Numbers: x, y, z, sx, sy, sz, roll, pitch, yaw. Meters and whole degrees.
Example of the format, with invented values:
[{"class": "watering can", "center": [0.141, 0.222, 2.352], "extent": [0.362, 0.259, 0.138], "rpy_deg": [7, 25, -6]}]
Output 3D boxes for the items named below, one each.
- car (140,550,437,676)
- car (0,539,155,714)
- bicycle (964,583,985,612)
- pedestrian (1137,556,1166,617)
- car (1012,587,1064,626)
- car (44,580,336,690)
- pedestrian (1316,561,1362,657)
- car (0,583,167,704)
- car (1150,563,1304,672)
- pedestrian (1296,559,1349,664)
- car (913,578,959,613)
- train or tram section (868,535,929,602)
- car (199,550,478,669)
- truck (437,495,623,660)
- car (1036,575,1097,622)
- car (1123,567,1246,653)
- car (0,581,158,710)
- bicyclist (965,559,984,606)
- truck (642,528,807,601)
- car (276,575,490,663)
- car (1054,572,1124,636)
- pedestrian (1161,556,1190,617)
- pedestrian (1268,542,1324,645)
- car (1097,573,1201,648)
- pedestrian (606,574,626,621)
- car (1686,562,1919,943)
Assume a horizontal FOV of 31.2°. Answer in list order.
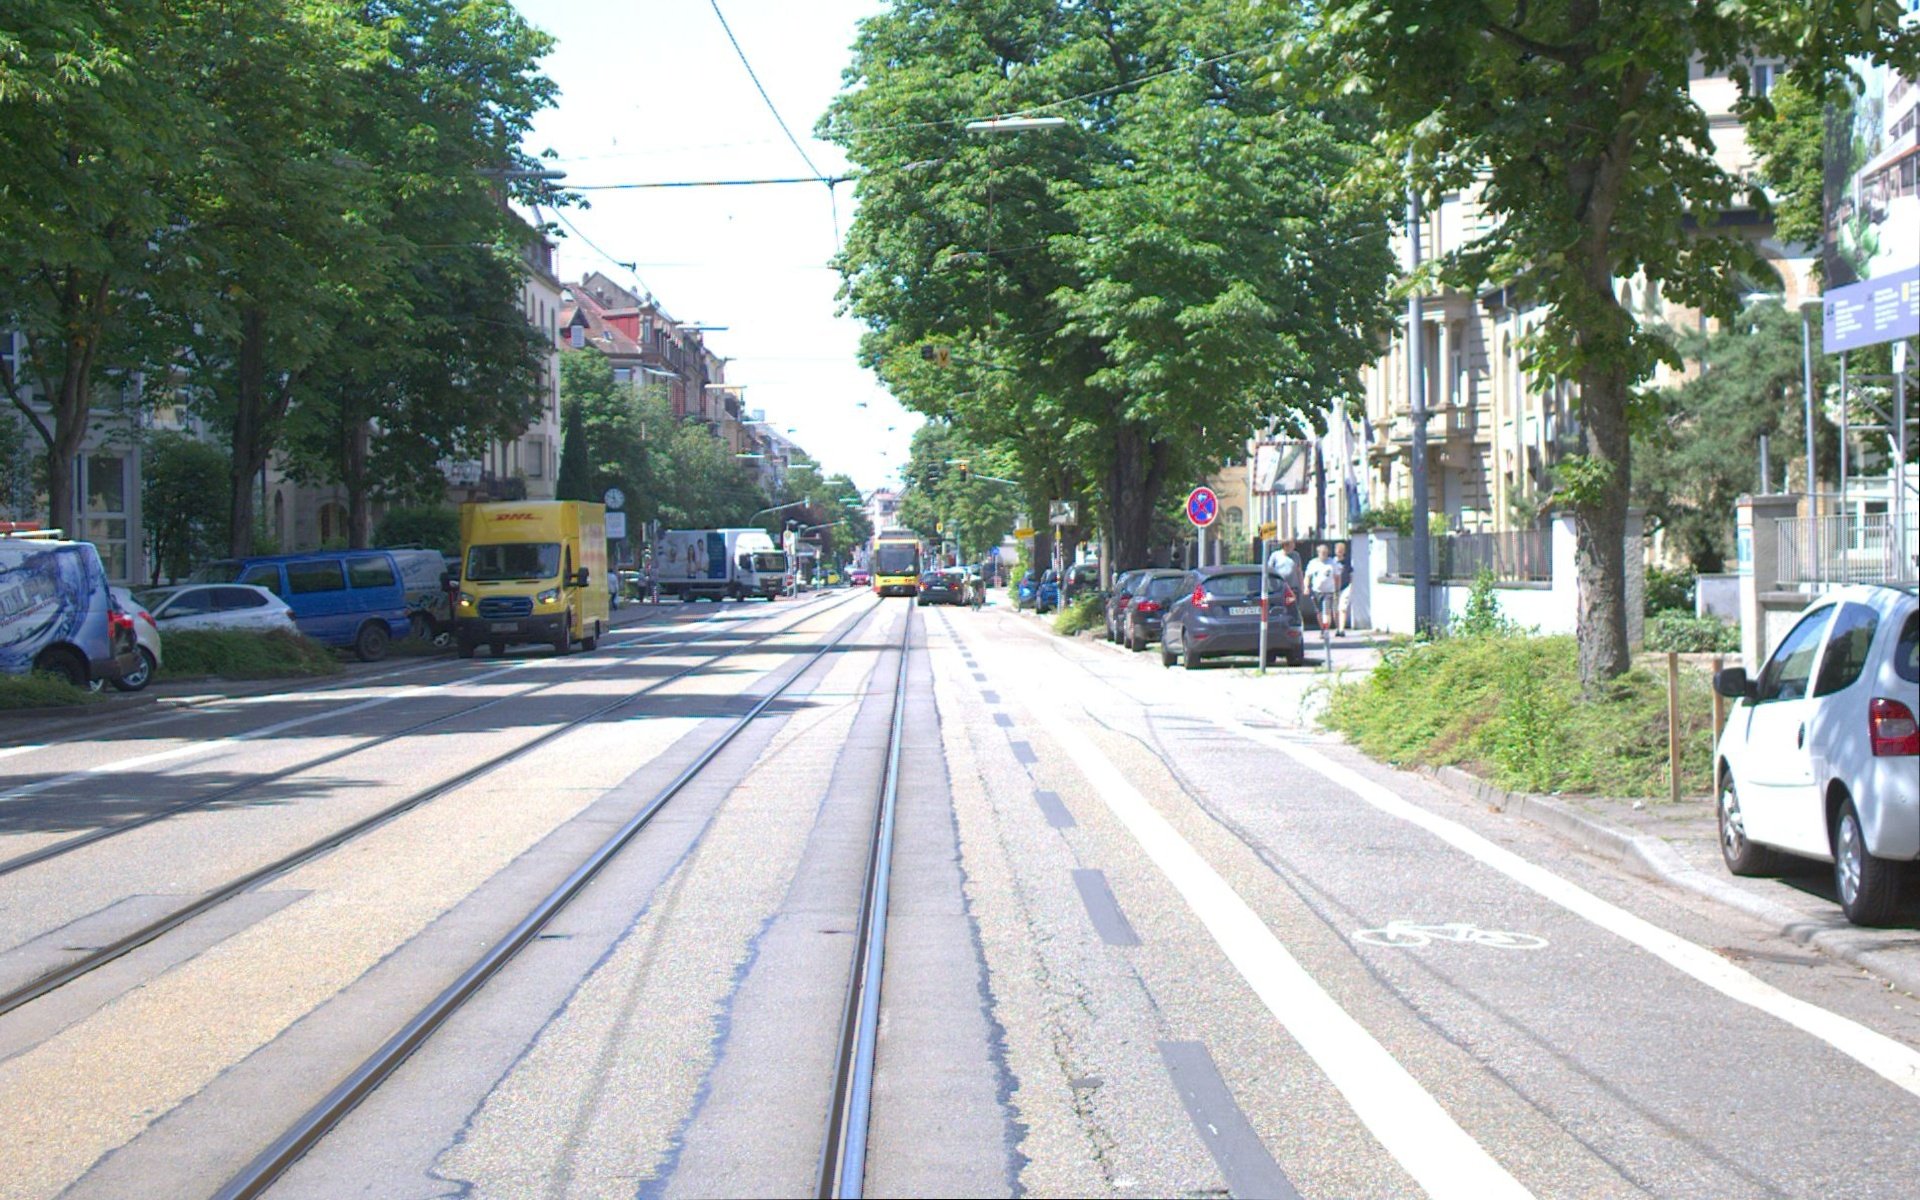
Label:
[{"class": "car", "center": [-11.457, 0.206, 58.885], "extent": [1.846, 1.949, 4.719], "rpy_deg": [-2, 1, 44]}, {"class": "car", "center": [-11.727, 0.347, 39.001], "extent": [1.920, 1.928, 4.745], "rpy_deg": [-2, 0, 42]}, {"class": "bicycle", "center": [0.506, -0.093, 120.335], "extent": [0.639, 0.966, 1.781], "rpy_deg": [1, -1, -2]}, {"class": "pedestrian", "center": [5.925, -0.414, 106.364], "extent": [0.808, 1.853, 0.623], "rpy_deg": [-1, -1, -2]}, {"class": "car", "center": [2.885, 0.238, 128.376], "extent": [1.710, 1.418, 4.310], "rpy_deg": [-1, 0, -1]}, {"class": "car", "center": [-11.700, 0.515, 52.389], "extent": [1.761, 1.428, 3.991], "rpy_deg": [-3, 0, 42]}, {"class": "pedestrian", "center": [6.938, 0.168, 62.931], "extent": [0.619, 1.731, 0.477], "rpy_deg": [-2, 0, 30]}, {"class": "car", "center": [-12.417, 0.589, 44.709], "extent": [1.761, 1.462, 3.700], "rpy_deg": [-2, 0, 44]}, {"class": "car", "center": [3.833, 0.245, 49.858], "extent": [1.639, 1.480, 3.873], "rpy_deg": [-1, 0, -4]}, {"class": "pedestrian", "center": [6.497, 0.208, 61.581], "extent": [0.725, 1.853, 0.576], "rpy_deg": [-1, 0, 28]}, {"class": "car", "center": [-0.958, -0.184, 136.105], "extent": [1.781, 1.341, 3.416], "rpy_deg": [-1, 0, 0]}, {"class": "train or tram section", "center": [-3.240, -1.680, 184.737], "extent": [3.035, 3.427, 11.970], "rpy_deg": [-1, 0, 0]}, {"class": "car", "center": [-11.743, 0.172, 65.138], "extent": [4.749, 2.055, 2.026], "rpy_deg": [-3, 1, -39]}, {"class": "truck", "center": [-7.910, -0.442, 64.066], "extent": [2.360, 2.843, 7.378], "rpy_deg": [-2, 1, 1]}, {"class": "car", "center": [3.388, -0.039, 110.121], "extent": [1.710, 1.418, 4.310], "rpy_deg": [-1, 0, -1]}, {"class": "car", "center": [4.021, 0.170, 62.223], "extent": [1.876, 1.450, 4.528], "rpy_deg": [-1, 0, 0]}, {"class": "car", "center": [-11.952, 0.588, 42.104], "extent": [1.816, 1.502, 3.700], "rpy_deg": [-2, 0, 44]}, {"class": "bicyclist", "center": [0.505, -0.604, 120.484], "extent": [0.622, 1.610, 0.865], "rpy_deg": [1, -1, -2]}, {"class": "truck", "center": [-11.797, -1.767, 171.819], "extent": [8.443, 3.538, 2.942], "rpy_deg": [0, 1, 39]}, {"class": "car", "center": [-11.498, 0.366, 68.657], "extent": [1.746, 1.595, 3.909], "rpy_deg": [-2, 1, 44]}, {"class": "car", "center": [3.382, 0.103, 90.757], "extent": [1.592, 1.611, 3.908], "rpy_deg": [-1, 0, -1]}, {"class": "pedestrian", "center": [6.726, -0.419, 107.363], "extent": [0.808, 1.853, 0.623], "rpy_deg": [-1, -1, -2]}, {"class": "pedestrian", "center": [6.099, -0.117, 62.331], "extent": [0.809, 1.853, 0.576], "rpy_deg": [-1, 0, 27]}, {"class": "car", "center": [3.757, 0.203, 68.880], "extent": [1.710, 1.418, 4.244], "rpy_deg": [-1, 0, -1]}, {"class": "pedestrian", "center": [-11.882, -0.092, 118.703], "extent": [0.572, 1.610, 0.816], "rpy_deg": [-1, 0, 0]}, {"class": "car", "center": [4.563, 0.598, 15.879], "extent": [1.644, 1.529, 3.785], "rpy_deg": [-1, 1, 1]}]
